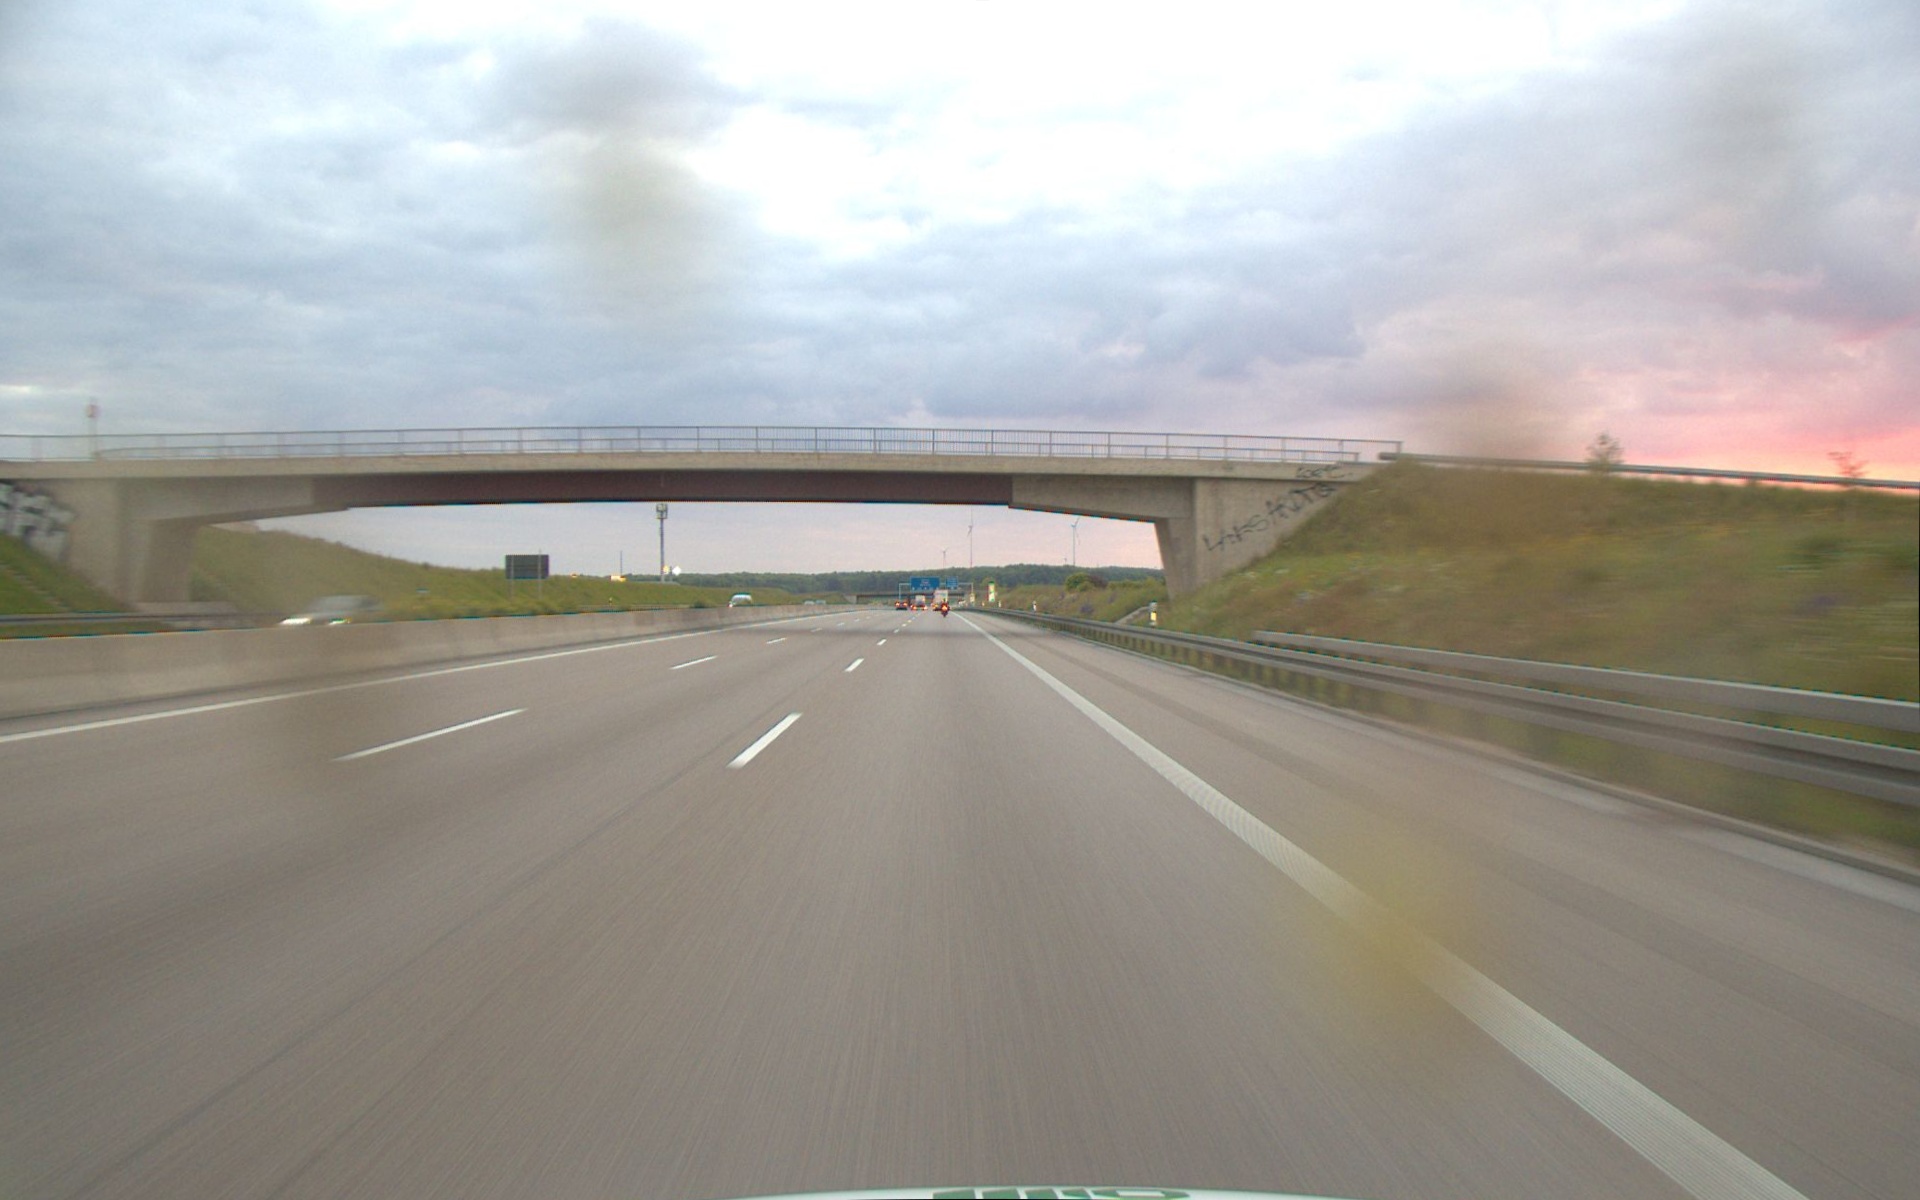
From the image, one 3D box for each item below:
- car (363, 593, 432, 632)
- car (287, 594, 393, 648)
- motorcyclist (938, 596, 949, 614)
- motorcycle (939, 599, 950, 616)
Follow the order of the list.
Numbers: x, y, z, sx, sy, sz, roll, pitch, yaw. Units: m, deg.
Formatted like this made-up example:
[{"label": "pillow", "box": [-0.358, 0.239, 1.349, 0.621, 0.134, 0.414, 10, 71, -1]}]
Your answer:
[{"label": "car", "box": [-23.784, 0.503, 70.038, 1.569, 1.584, 3.999, 1, 0, -1]}, {"label": "car", "box": [-19.343, 0.611, 51.782, 1.719, 1.579, 4.359, 1, 0, -1]}, {"label": "motorcyclist", "box": [-1.336, 0.397, 137.471, 0.848, 1.514, 1.168, 1, 0, 0]}, {"label": "motorcycle", "box": [-1.314, 0.651, 137.720, 0.883, 1.370, 2.348, 0, 0, -1]}]
